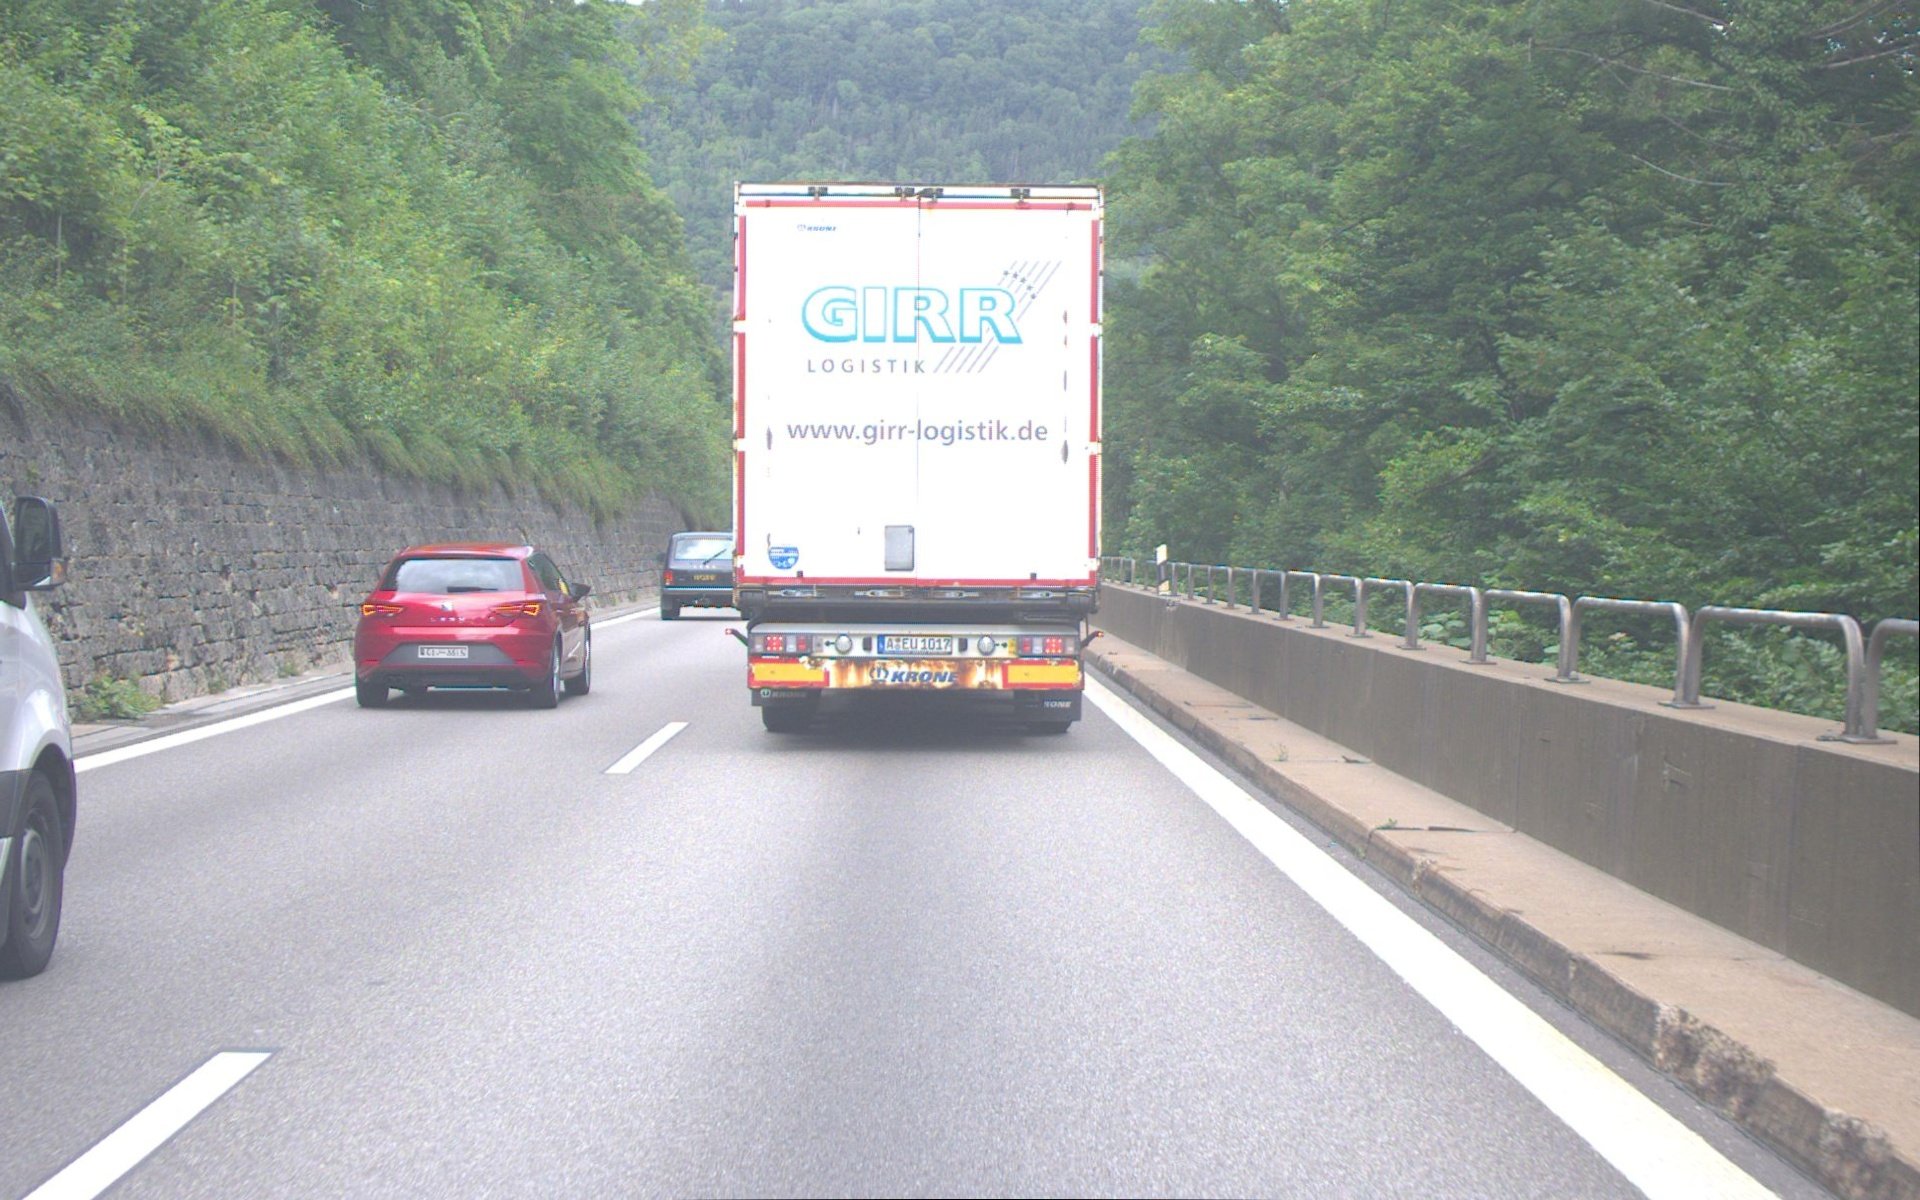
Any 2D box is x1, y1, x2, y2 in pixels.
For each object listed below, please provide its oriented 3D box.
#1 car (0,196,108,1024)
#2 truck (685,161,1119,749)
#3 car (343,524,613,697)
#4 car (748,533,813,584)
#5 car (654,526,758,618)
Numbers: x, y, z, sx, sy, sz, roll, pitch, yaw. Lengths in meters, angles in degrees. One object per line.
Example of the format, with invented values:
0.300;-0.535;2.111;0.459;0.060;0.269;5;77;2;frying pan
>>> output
-3.969;0.053;8.978;2.026;2.576;6.275;0;1;-1;car
-0.371;-1.049;27.822;2.909;3.947;9.279;0;1;0;truck
-4.292;0.065;31.221;1.766;1.455;4.411;0;1;1;car
-5.248;-1.221;101.066;1.729;1.481;4.000;0;1;-1;car
-4.678;-0.530;63.782;1.669;1.633;4.068;0;1;-1;car
